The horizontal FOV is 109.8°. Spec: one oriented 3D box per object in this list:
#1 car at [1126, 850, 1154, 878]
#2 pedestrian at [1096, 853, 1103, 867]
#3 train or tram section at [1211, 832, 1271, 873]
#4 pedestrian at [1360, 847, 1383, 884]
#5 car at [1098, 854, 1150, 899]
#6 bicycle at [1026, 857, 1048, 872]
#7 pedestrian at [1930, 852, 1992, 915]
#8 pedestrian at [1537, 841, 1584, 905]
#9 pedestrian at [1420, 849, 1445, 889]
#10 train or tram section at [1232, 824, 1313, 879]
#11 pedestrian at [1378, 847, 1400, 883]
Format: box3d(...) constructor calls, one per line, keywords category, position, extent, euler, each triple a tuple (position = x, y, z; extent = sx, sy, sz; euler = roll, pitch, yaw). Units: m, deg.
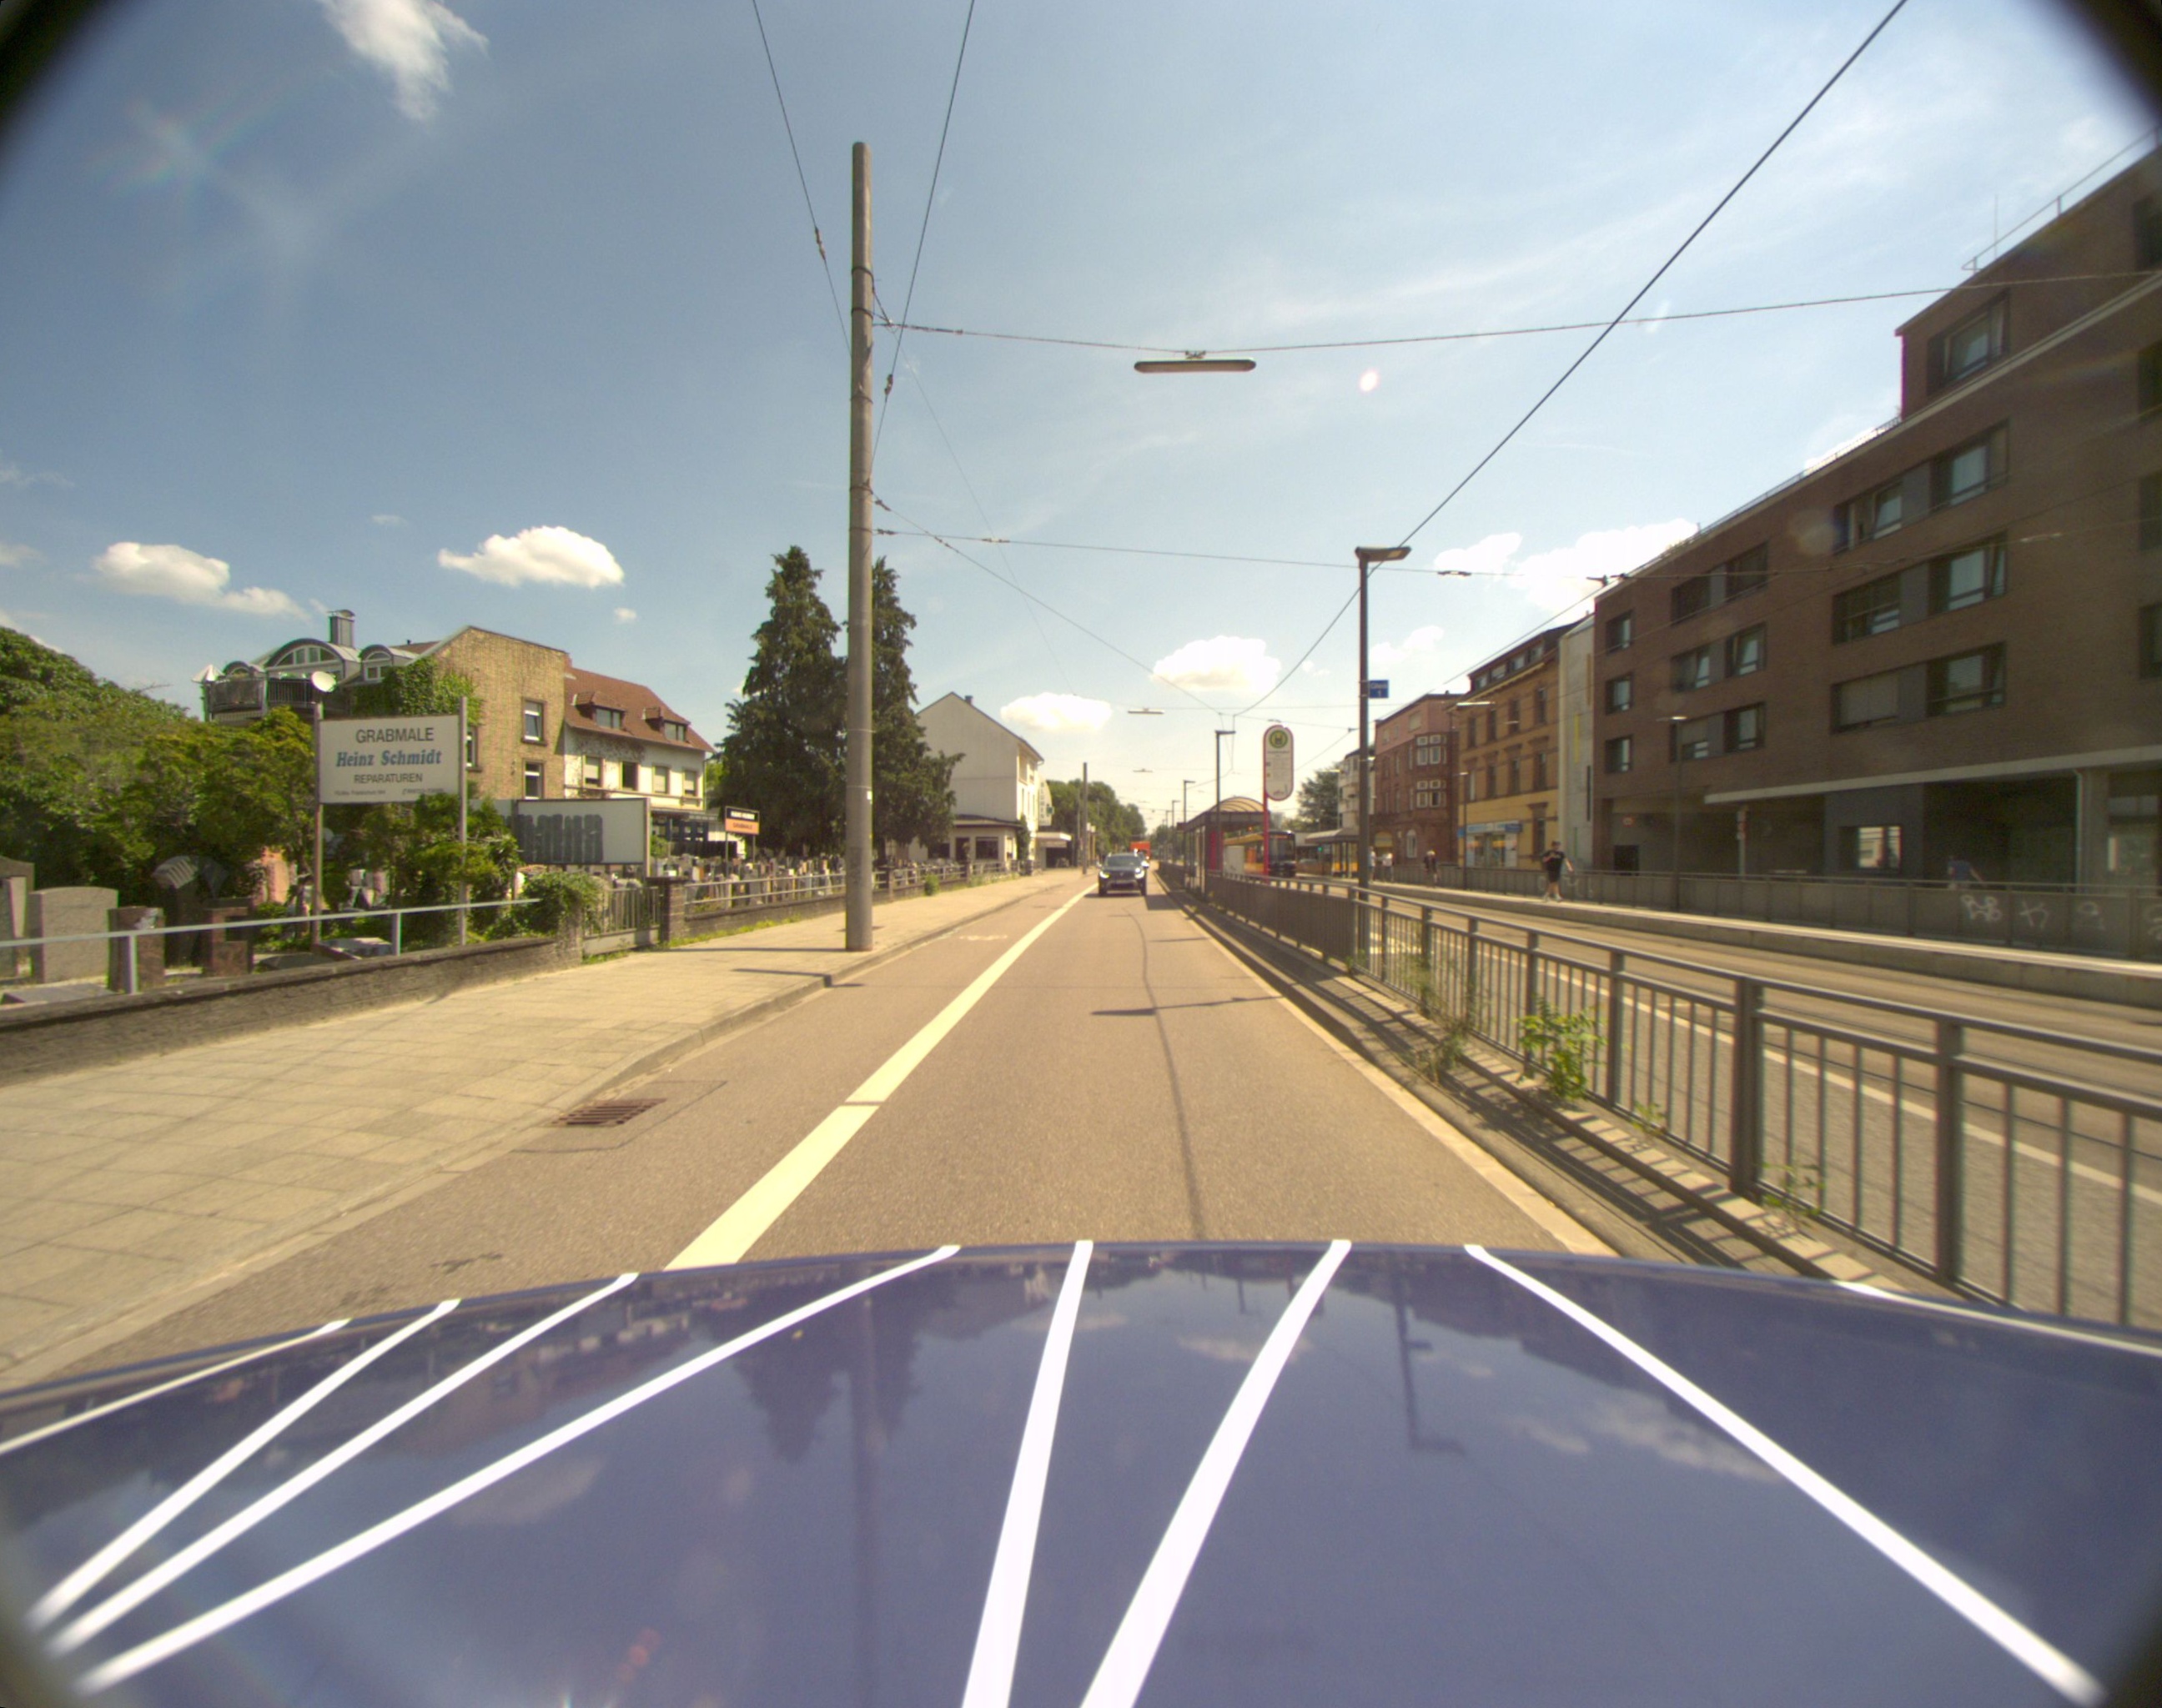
box3d(category="car", position=(4.406, 0.712, 56.549), extent=(1.998, 2.002, 4.001), euler=(0, 1, 4))
box3d(category="pedestrian", position=(2.184, 0.663, 89.307), extent=(0.563, 1.656, 0.683), euler=(0, 1, 28))
box3d(category="train or tram section", position=(15.485, -0.237, 75.566), extent=(3.257, 3.546, 20.506), euler=(0, 1, 5))
box3d(category="pedestrian", position=(14.286, 0.575, 37.398), extent=(0.761, 1.789, 0.952), euler=(1, 1, 4))
box3d(category="car", position=(1.639, 0.812, 29.599), extent=(1.845, 1.565, 4.488), euler=(-1, 0, 3))
box3d(category="bicycle", position=(-3.359, 0.823, 57.809), extent=(1.535, 1.080, 0.430), euler=(2, 1, 11))
box3d(category="pedestrian", position=(22.787, 0.756, 19.697), extent=(0.687, 1.587, 0.761), euler=(1, 1, 4))
box3d(category="pedestrian", position=(13.448, 0.526, 21.339), extent=(0.687, 1.750, 1.034), euler=(1, 1, 4))
box3d(category="pedestrian", position=(14.302, 0.592, 30.929), extent=(0.687, 1.587, 0.761), euler=(1, 1, 4))
box3d(category="train or tram section", position=(13.978, -0.258, 57.228), extent=(3.242, 3.546, 16.353), euler=(0, 1, 5))
box3d(category="pedestrian", position=(14.844, 0.534, 36.634), extent=(0.761, 1.685, 0.809), euler=(1, 1, 4))
